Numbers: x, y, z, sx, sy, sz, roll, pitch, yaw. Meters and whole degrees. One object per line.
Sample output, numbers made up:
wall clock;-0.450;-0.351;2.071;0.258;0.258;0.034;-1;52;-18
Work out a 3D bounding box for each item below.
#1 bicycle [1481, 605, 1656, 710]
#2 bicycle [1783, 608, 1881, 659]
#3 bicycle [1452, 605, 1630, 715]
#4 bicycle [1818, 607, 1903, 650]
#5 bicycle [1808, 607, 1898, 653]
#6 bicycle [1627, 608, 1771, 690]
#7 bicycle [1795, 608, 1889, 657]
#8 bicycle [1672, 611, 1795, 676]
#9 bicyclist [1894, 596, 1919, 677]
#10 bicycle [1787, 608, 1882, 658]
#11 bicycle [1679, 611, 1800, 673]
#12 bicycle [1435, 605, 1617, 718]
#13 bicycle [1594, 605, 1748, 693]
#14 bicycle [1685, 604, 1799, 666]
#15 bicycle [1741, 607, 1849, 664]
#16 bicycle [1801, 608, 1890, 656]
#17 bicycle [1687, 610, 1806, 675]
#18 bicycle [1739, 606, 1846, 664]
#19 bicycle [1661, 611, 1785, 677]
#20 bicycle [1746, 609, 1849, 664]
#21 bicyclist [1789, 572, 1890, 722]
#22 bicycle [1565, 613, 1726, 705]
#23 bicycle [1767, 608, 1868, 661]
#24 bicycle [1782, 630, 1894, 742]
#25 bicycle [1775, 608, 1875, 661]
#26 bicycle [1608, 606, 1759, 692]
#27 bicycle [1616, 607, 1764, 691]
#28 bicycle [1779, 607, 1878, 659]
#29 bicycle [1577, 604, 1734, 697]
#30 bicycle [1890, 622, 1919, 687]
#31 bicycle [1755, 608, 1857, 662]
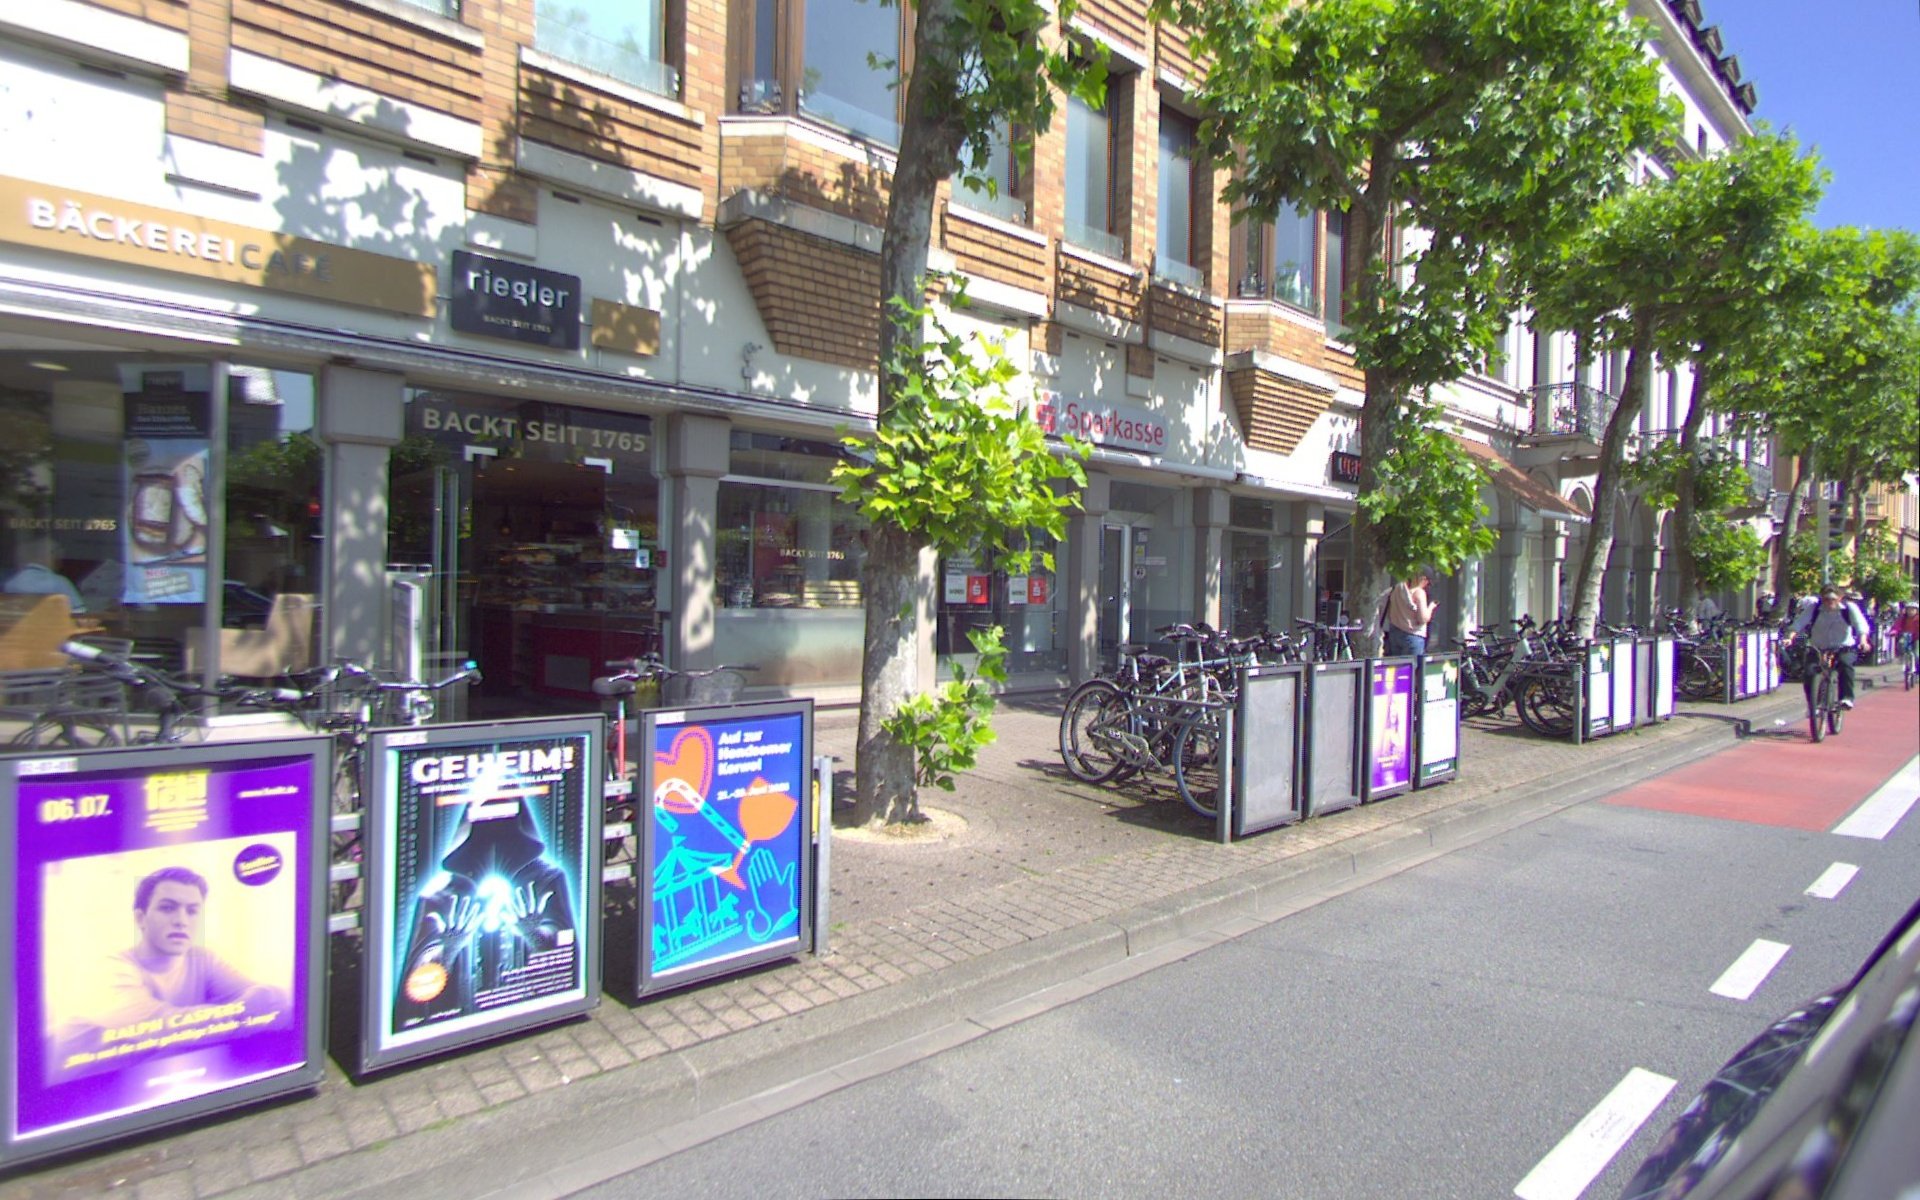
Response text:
bicycle;7.350;0.656;12.300;0.491;1.161;1.755;1;0;-42
bicycle;21.401;0.806;24.860;0.582;1.161;1.755;1;0;-42
bicycle;6.813;0.664;11.945;0.474;1.161;1.755;1;0;-42
bicycle;25.562;0.786;28.737;0.582;1.161;1.755;1;0;-42
bicycle;24.115;0.782;27.354;0.582;1.161;1.755;1;0;-42
bicycle;11.449;0.728;15.726;0.474;1.161;1.755;1;0;-42
bicycle;22.558;0.808;25.918;0.582;1.161;1.755;1;0;-42
bicycle;14.303;0.780;18.748;0.474;1.101;1.755;1;0;-42
bicyclist;17.142;0.640;18.015;0.765;1.414;0.689;1;-1;-42
bicycle;21.883;0.807;25.346;0.582;1.161;1.755;1;0;-42
bicycle;14.697;0.767;19.115;0.474;1.082;1.755;1;0;-42
bicycle;6.428;0.656;11.569;0.474;1.161;1.755;1;0;-42
bicycle;10.230;0.668;14.620;0.474;1.161;1.755;1;0;-42
bicycle;15.657;0.679;20.307;0.474;1.161;1.755;1;0;-42
bicycle;18.318;0.766;22.222;0.474;1.161;1.776;1;0;-42
bicycle;23.066;0.809;26.381;0.510;1.161;1.705;1;0;-42
bicycle;15.133;0.796;19.520;0.474;1.161;1.755;1;0;-42
bicycle;18.651;0.761;22.701;0.475;1.209;1.801;-1;1;-42
bicycle;13.894;0.778;18.468;0.474;1.119;1.755;1;0;-42
bicycle;19.069;0.802;23.076;0.474;1.161;1.755;1;0;-42
bicyclist;9.850;0.505;11.334;0.765;1.597;0.749;1;-1;-42
bicycle;9.358;0.765;13.869;0.474;1.137;1.755;1;0;-42
bicycle;20.084;0.792;23.722;0.475;1.161;1.755;0;1;-42
bicycle;9.875;0.918;11.356;1.865;1.107;0.735;0;-1;-43
bicycle;20.604;0.802;24.128;0.474;1.161;1.755;1;0;-42
bicycle;10.681;0.692;14.988;0.474;1.161;1.755;1;0;-42
bicycle;11.055;0.707;15.381;0.518;1.161;1.755;1;0;-42
bicycle;20.975;0.773;24.468;0.474;1.161;1.755;1;0;-42
bicycle;9.765;0.668;14.266;0.474;1.202;1.755;1;0;-42
bicycle;17.132;0.944;17.991;1.788;1.107;0.735;1;-1;-43
bicycle;19.557;0.779;23.414;0.474;1.161;1.755;1;0;-42
